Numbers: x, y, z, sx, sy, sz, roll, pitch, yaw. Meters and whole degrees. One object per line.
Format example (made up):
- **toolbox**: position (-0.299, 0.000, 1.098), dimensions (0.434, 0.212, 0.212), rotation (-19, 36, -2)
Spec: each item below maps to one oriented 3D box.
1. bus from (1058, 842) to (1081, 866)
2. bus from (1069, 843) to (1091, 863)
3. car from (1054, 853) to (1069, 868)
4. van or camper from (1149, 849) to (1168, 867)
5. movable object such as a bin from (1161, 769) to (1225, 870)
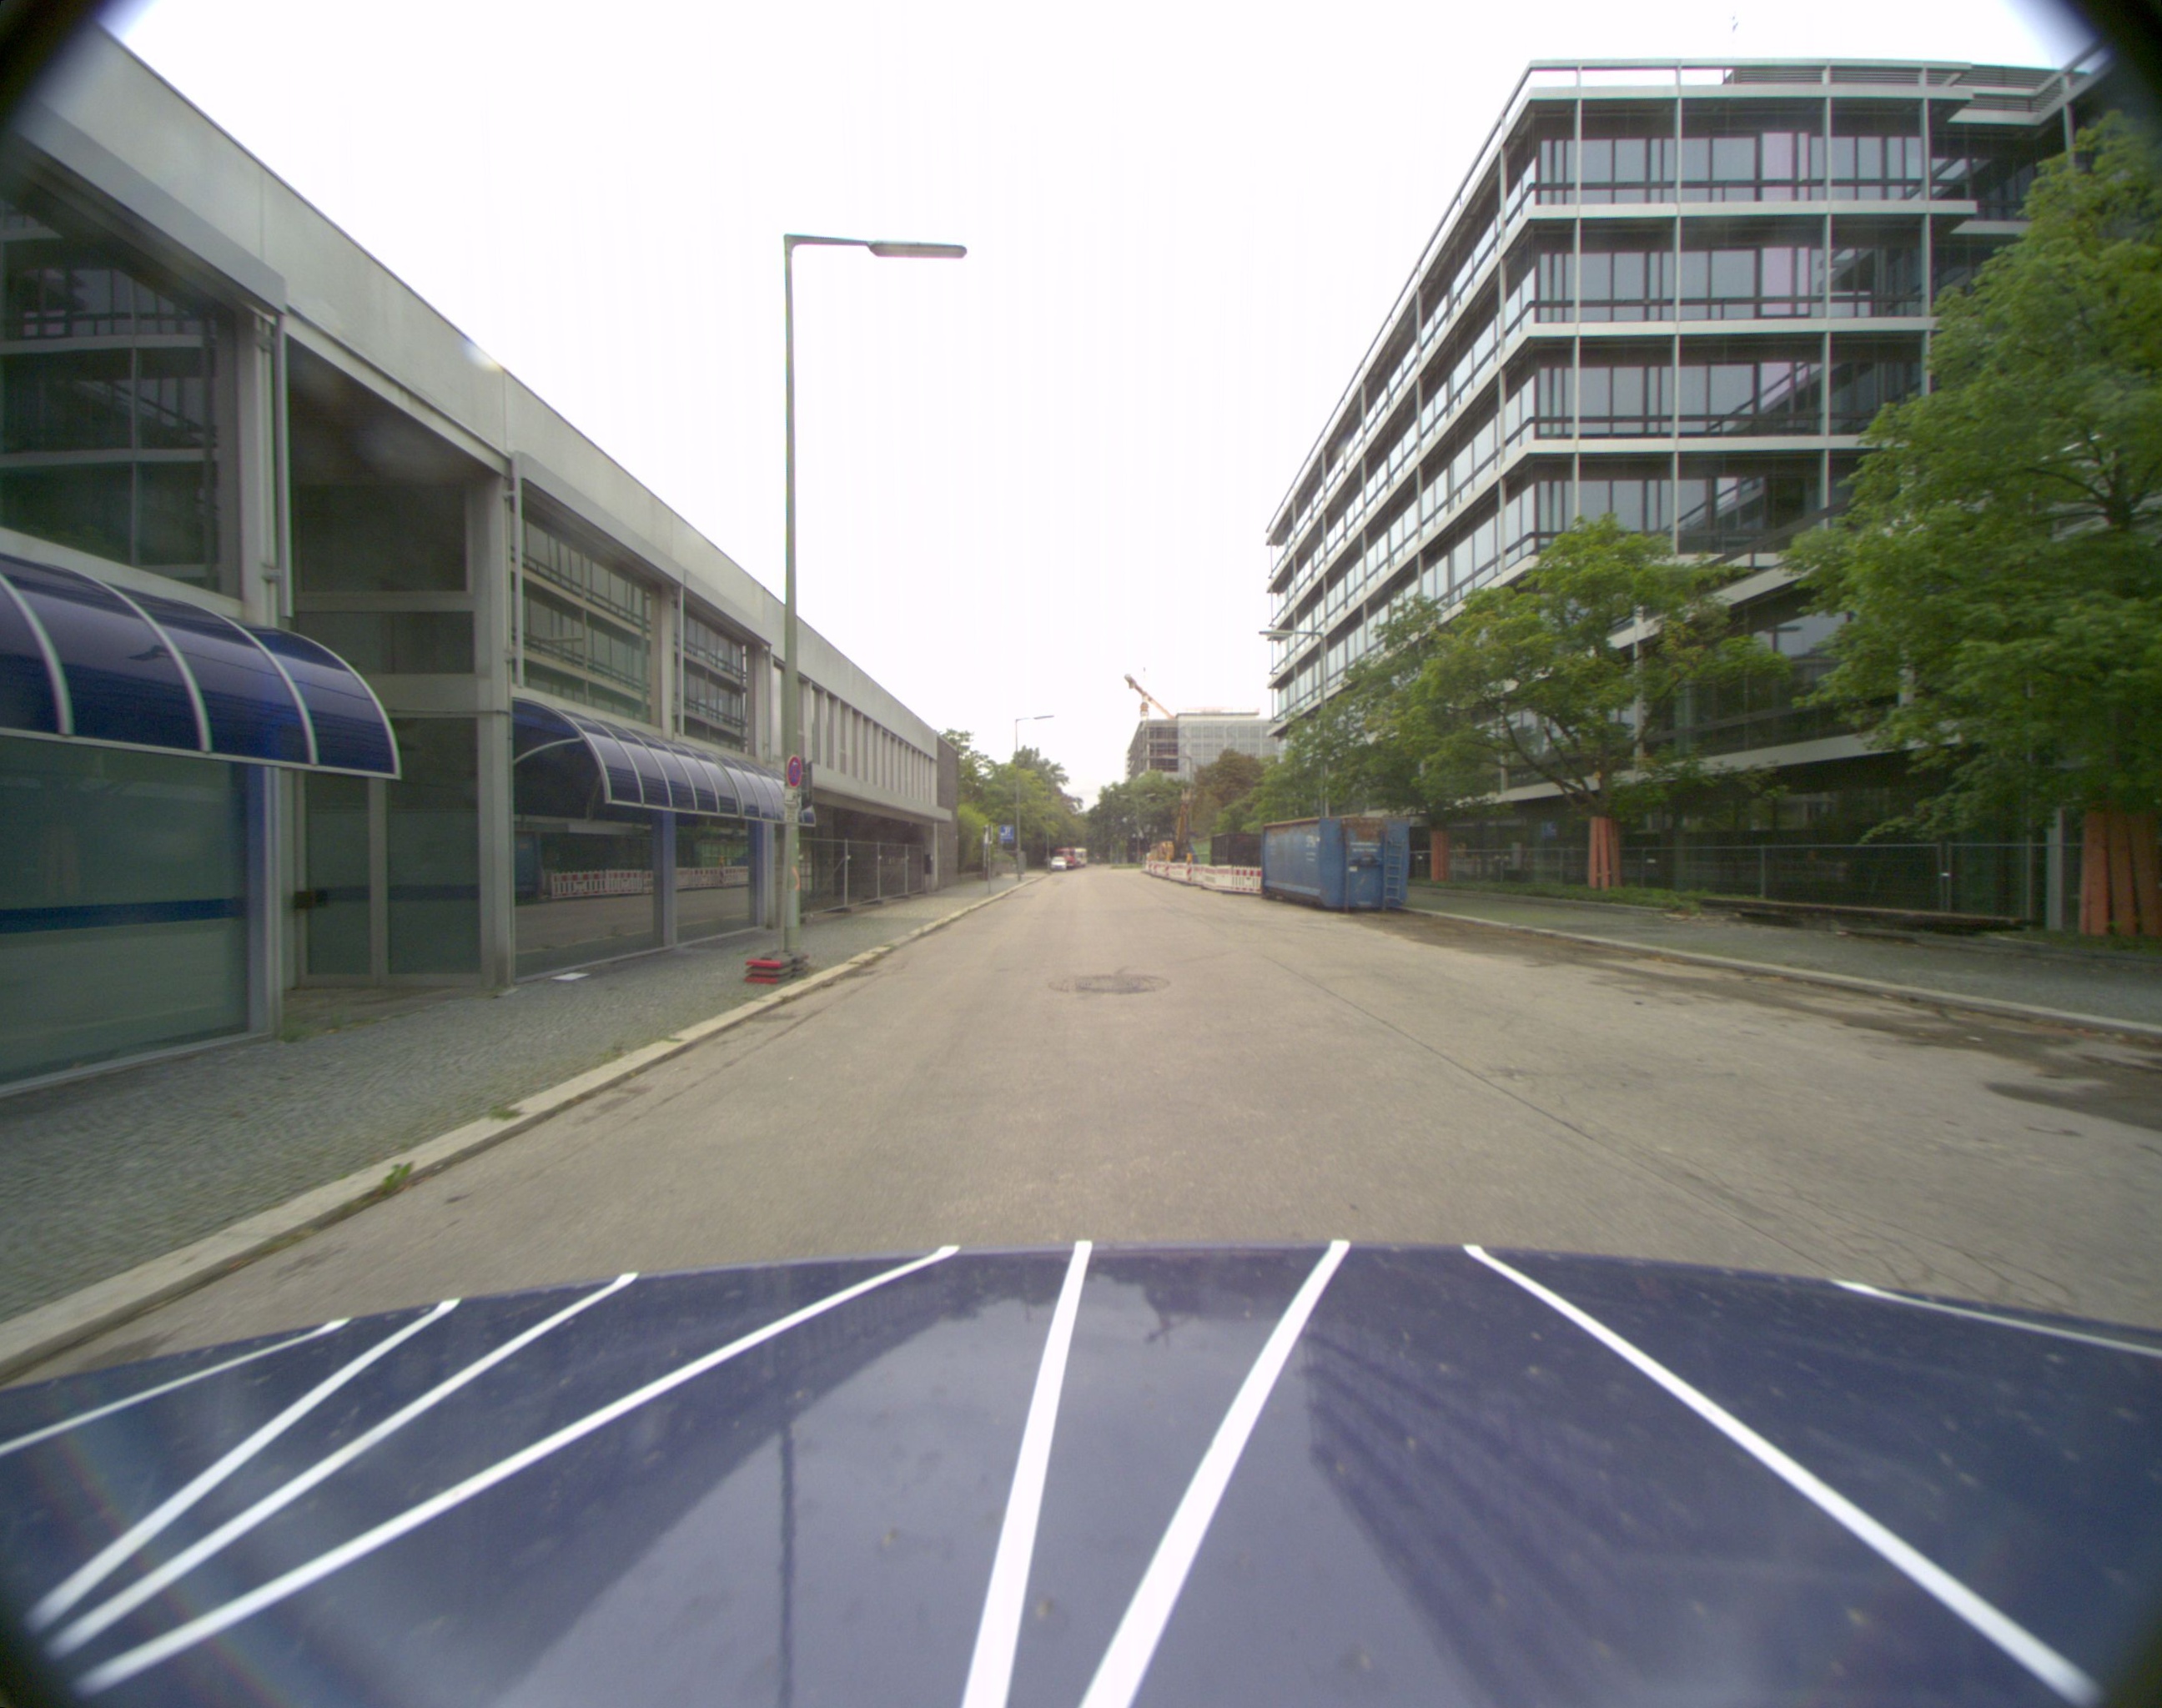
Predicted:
- **bus**: position (-1.305, 0.000, 89.973), dimensions (2.077, 2.789, 6.274), rotation (0, 0, 5)
- **bus**: position (-0.101, -0.117, 103.875), dimensions (2.076, 2.714, 5.871), rotation (0, 0, 10)
- **car**: position (-2.141, 0.722, 83.294), dimensions (1.536, 1.483, 4.059), rotation (0, 1, -2)
- **van or camper**: position (8.773, 0.460, 86.662), dimensions (1.993, 2.022, 5.588), rotation (1, 0, 4)
- **movable object such as a bin**: position (7.938, -2.306, 55.289), dimensions (2.911, 6.526, 11.782), rotation (0, 1, 0)
